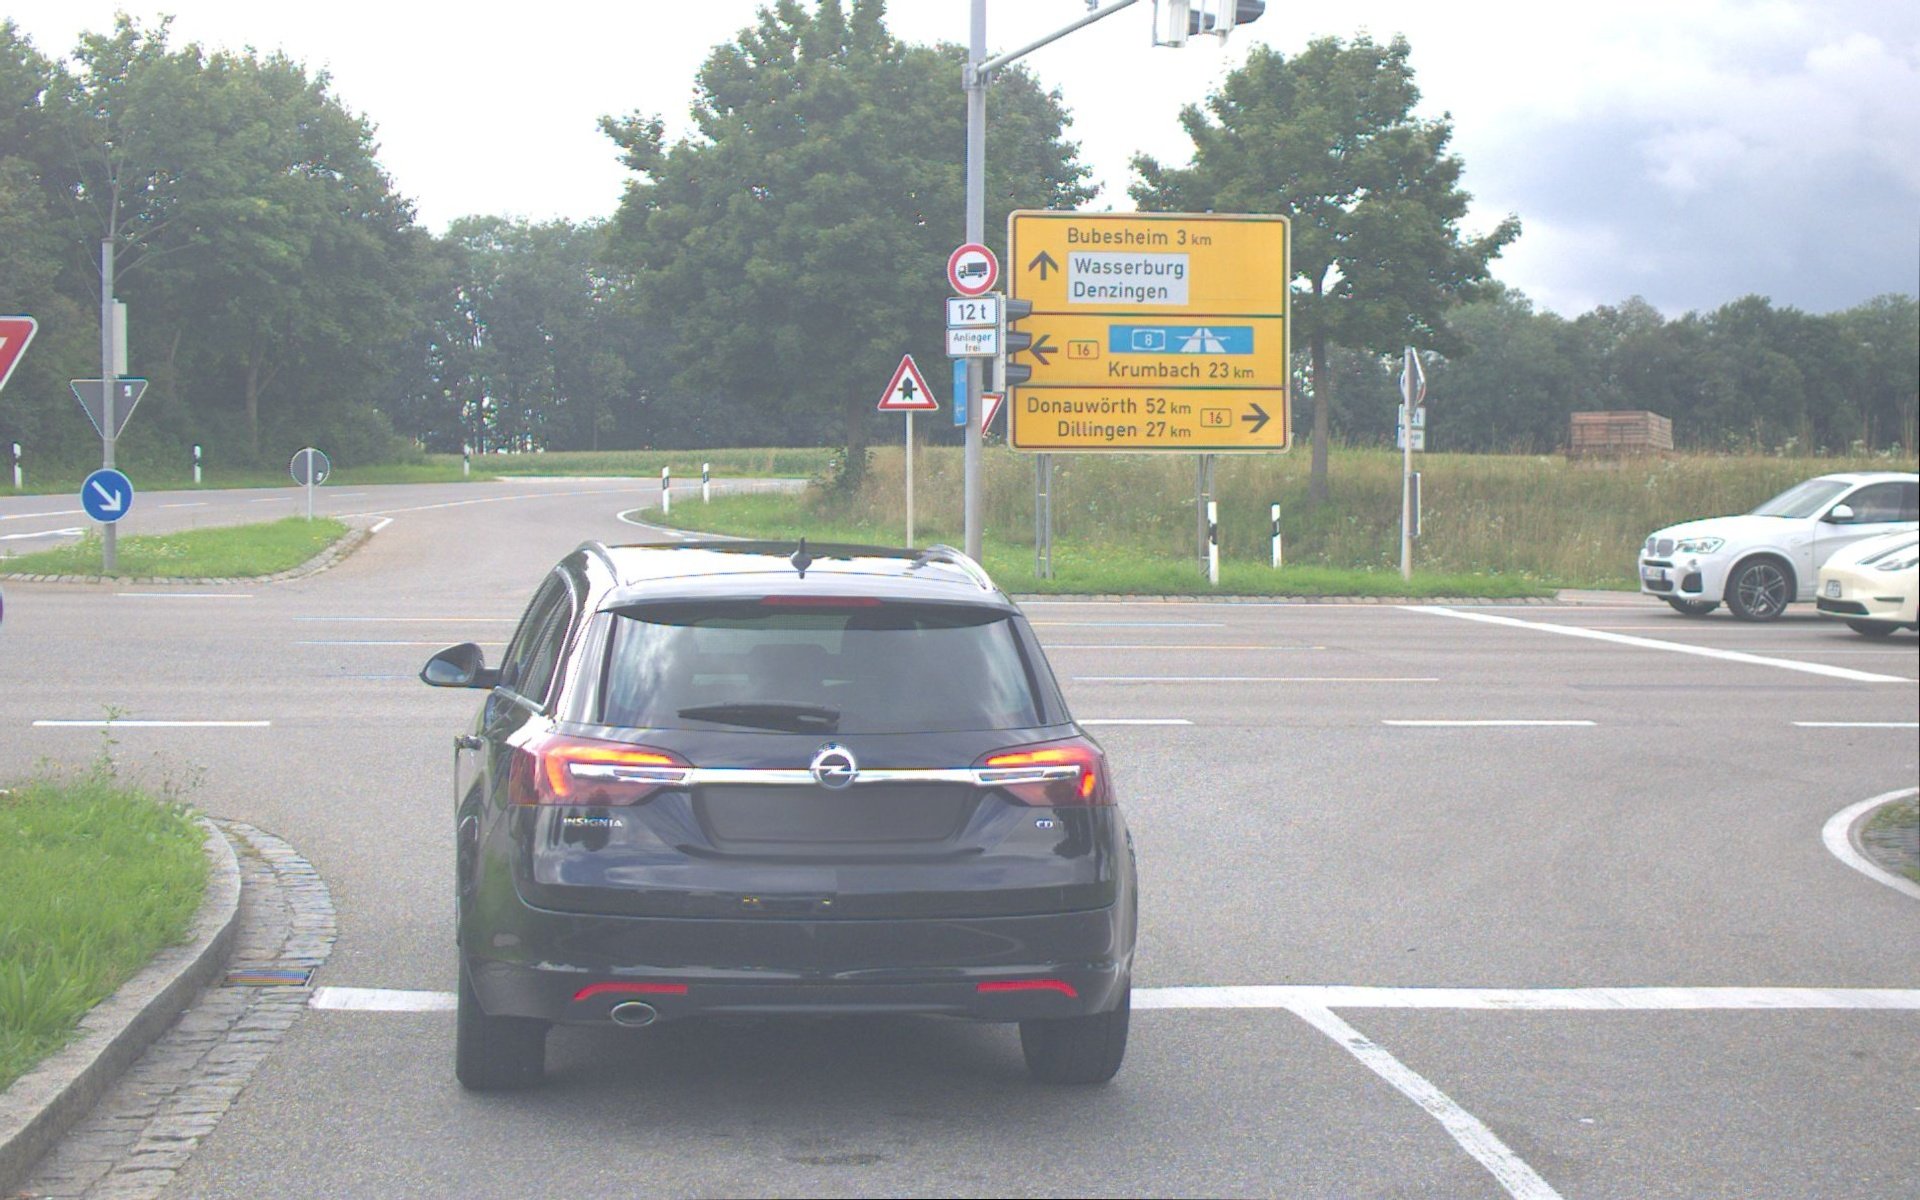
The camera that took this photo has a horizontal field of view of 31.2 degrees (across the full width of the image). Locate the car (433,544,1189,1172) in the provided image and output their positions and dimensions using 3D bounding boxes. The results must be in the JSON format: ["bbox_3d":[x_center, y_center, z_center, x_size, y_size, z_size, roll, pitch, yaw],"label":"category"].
[{"bbox_3d":[-0.653,0.587,10.377,1.807,1.446,4.274,1,1,-8],"label":"car"}]

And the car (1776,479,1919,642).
[{"bbox_3d":[10.822,-0.390,34.438,4.731,1.559,2.001,0,1,-12],"label":"car"}]

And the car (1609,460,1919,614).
[{"bbox_3d":[9.616,-0.694,38.185,4.259,1.623,2.001,0,1,-13],"label":"car"}]
